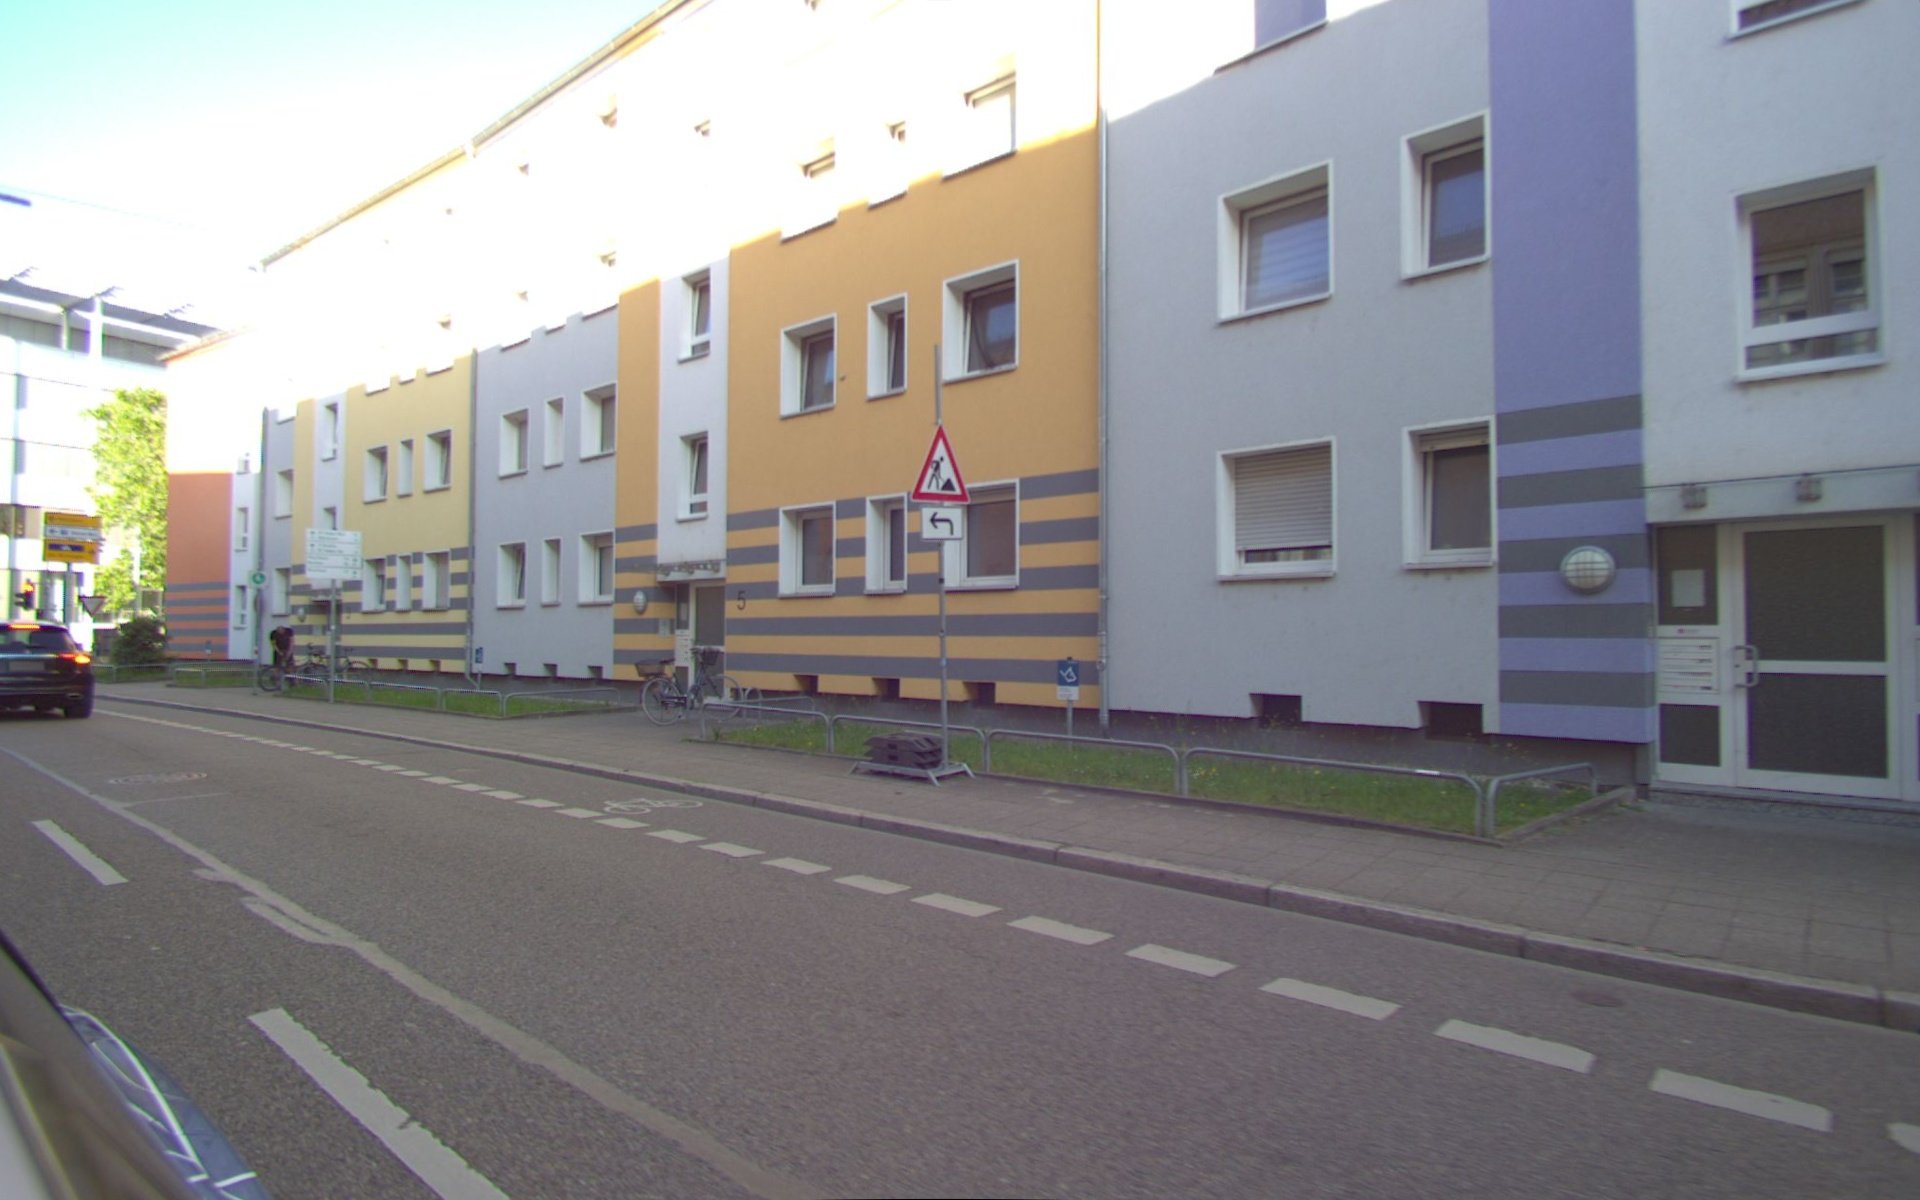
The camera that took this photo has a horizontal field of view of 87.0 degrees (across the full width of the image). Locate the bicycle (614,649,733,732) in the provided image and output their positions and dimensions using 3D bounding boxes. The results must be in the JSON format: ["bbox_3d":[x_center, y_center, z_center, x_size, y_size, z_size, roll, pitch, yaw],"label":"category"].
[{"bbox_3d":[-4.271,1.325,15.232,0.649,1.154,1.738,-1,-3,32],"label":"bicycle"}]

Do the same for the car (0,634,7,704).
[{"bbox_3d":[-22.866,1.491,22.523,4.130,1.497,1.724,-2,-5,38],"label":"car"}]

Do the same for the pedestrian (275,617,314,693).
[{"bbox_3d":[-16.598,1.363,25.262,0.709,1.869,0.872,1,-3,-29],"label":"pedestrian"}]

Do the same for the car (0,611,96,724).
[{"bbox_3d":[-17.565,1.188,18.375,5.089,1.849,1.881,-2,-5,39],"label":"car"}]

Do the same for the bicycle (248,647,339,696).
[{"bbox_3d":[-16.390,1.740,24.936,0.649,1.154,1.738,-1,-3,32],"label":"bicycle"}]

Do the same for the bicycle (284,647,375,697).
[{"bbox_3d":[-15.119,1.711,24.323,0.649,1.154,1.738,-1,-3,32],"label":"bicycle"}]
